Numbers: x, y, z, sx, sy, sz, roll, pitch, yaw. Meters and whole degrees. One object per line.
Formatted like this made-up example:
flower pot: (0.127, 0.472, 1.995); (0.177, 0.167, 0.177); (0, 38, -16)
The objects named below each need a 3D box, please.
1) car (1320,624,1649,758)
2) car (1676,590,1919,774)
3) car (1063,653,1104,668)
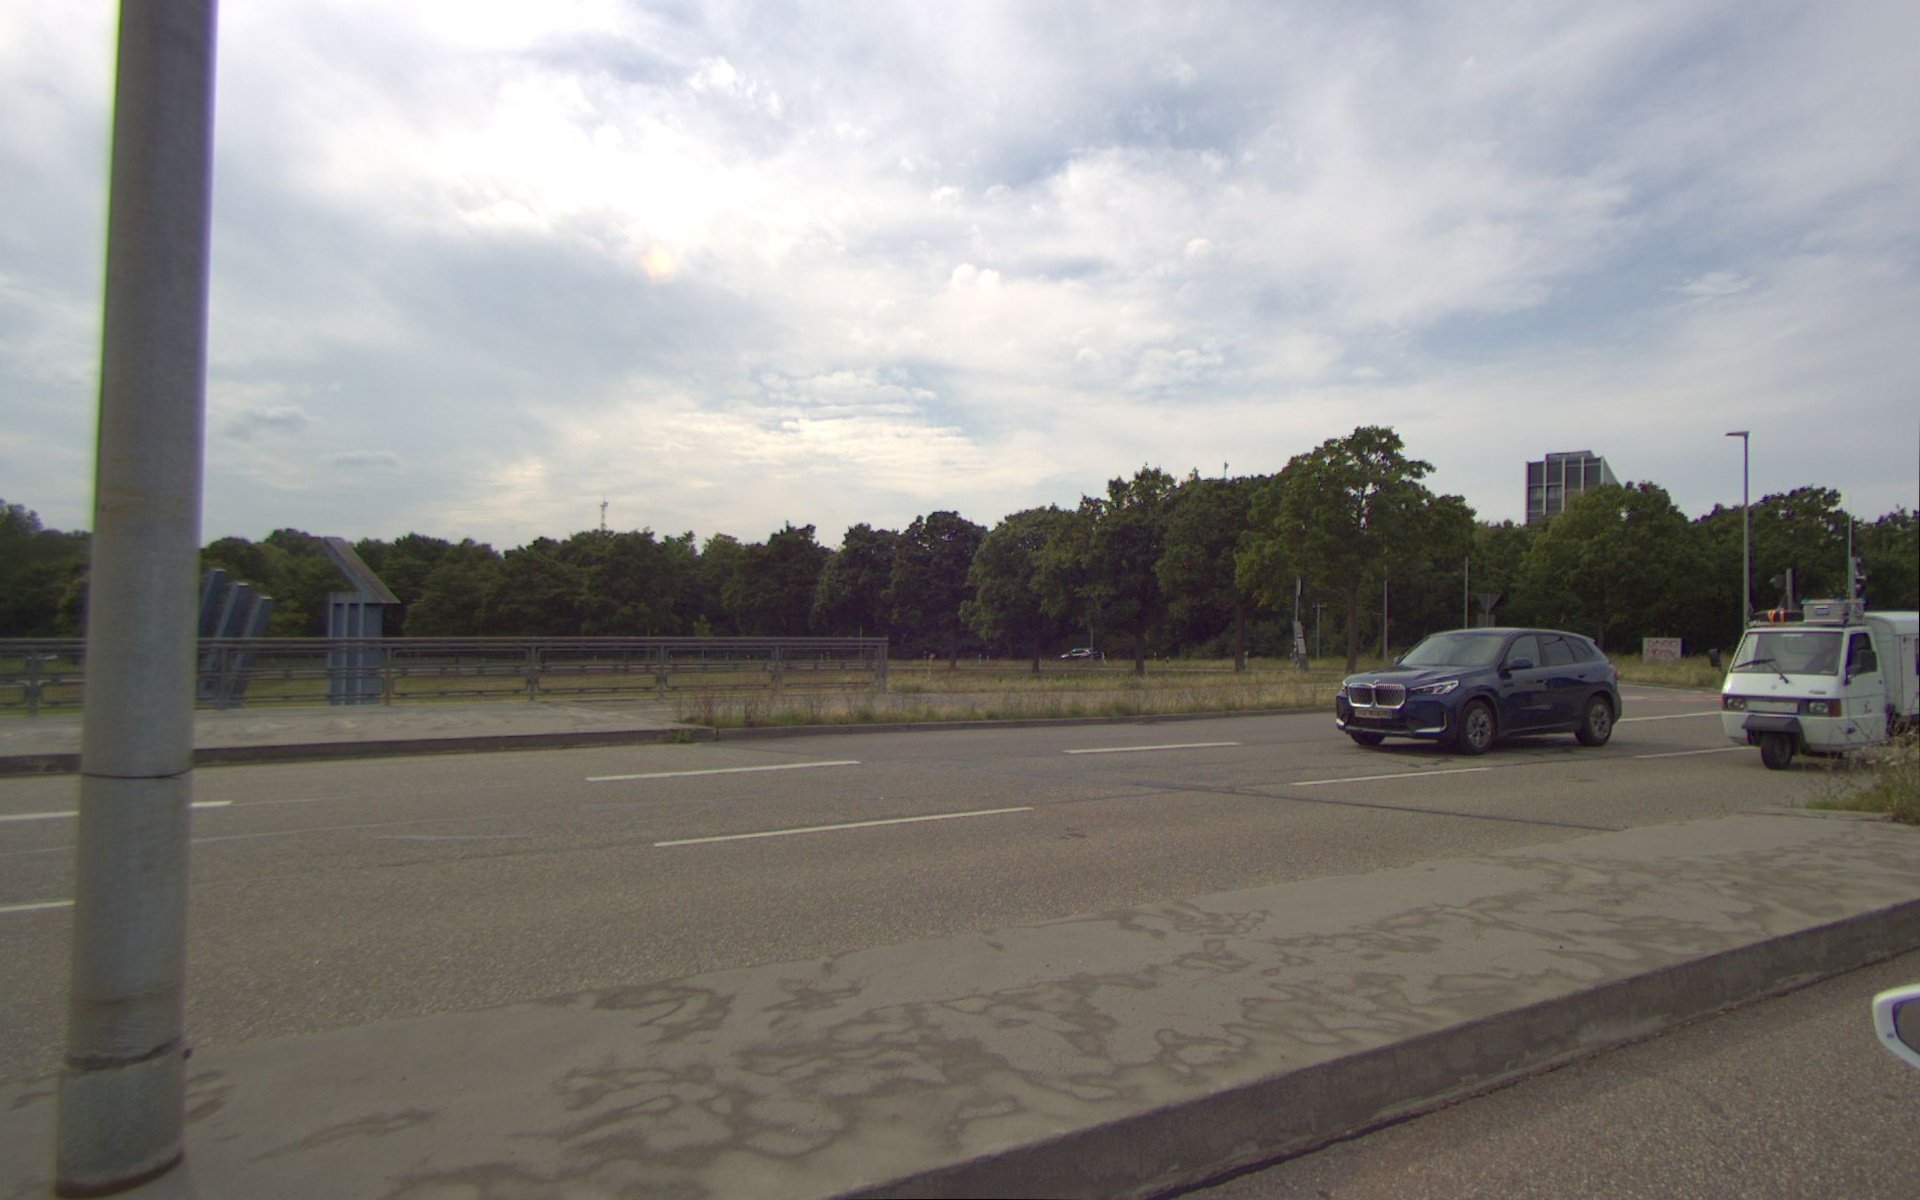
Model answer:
car: (7.313, 1.159, 13.918); (4.527, 1.606, 1.741); (1, -3, -27)
car: (10.290, 0.898, 11.845); (3.524, 1.895, 1.535); (1, -3, -27)
car: (11.929, 5.839, 97.156); (1.563, 1.414, 3.832); (2, -3, -42)
